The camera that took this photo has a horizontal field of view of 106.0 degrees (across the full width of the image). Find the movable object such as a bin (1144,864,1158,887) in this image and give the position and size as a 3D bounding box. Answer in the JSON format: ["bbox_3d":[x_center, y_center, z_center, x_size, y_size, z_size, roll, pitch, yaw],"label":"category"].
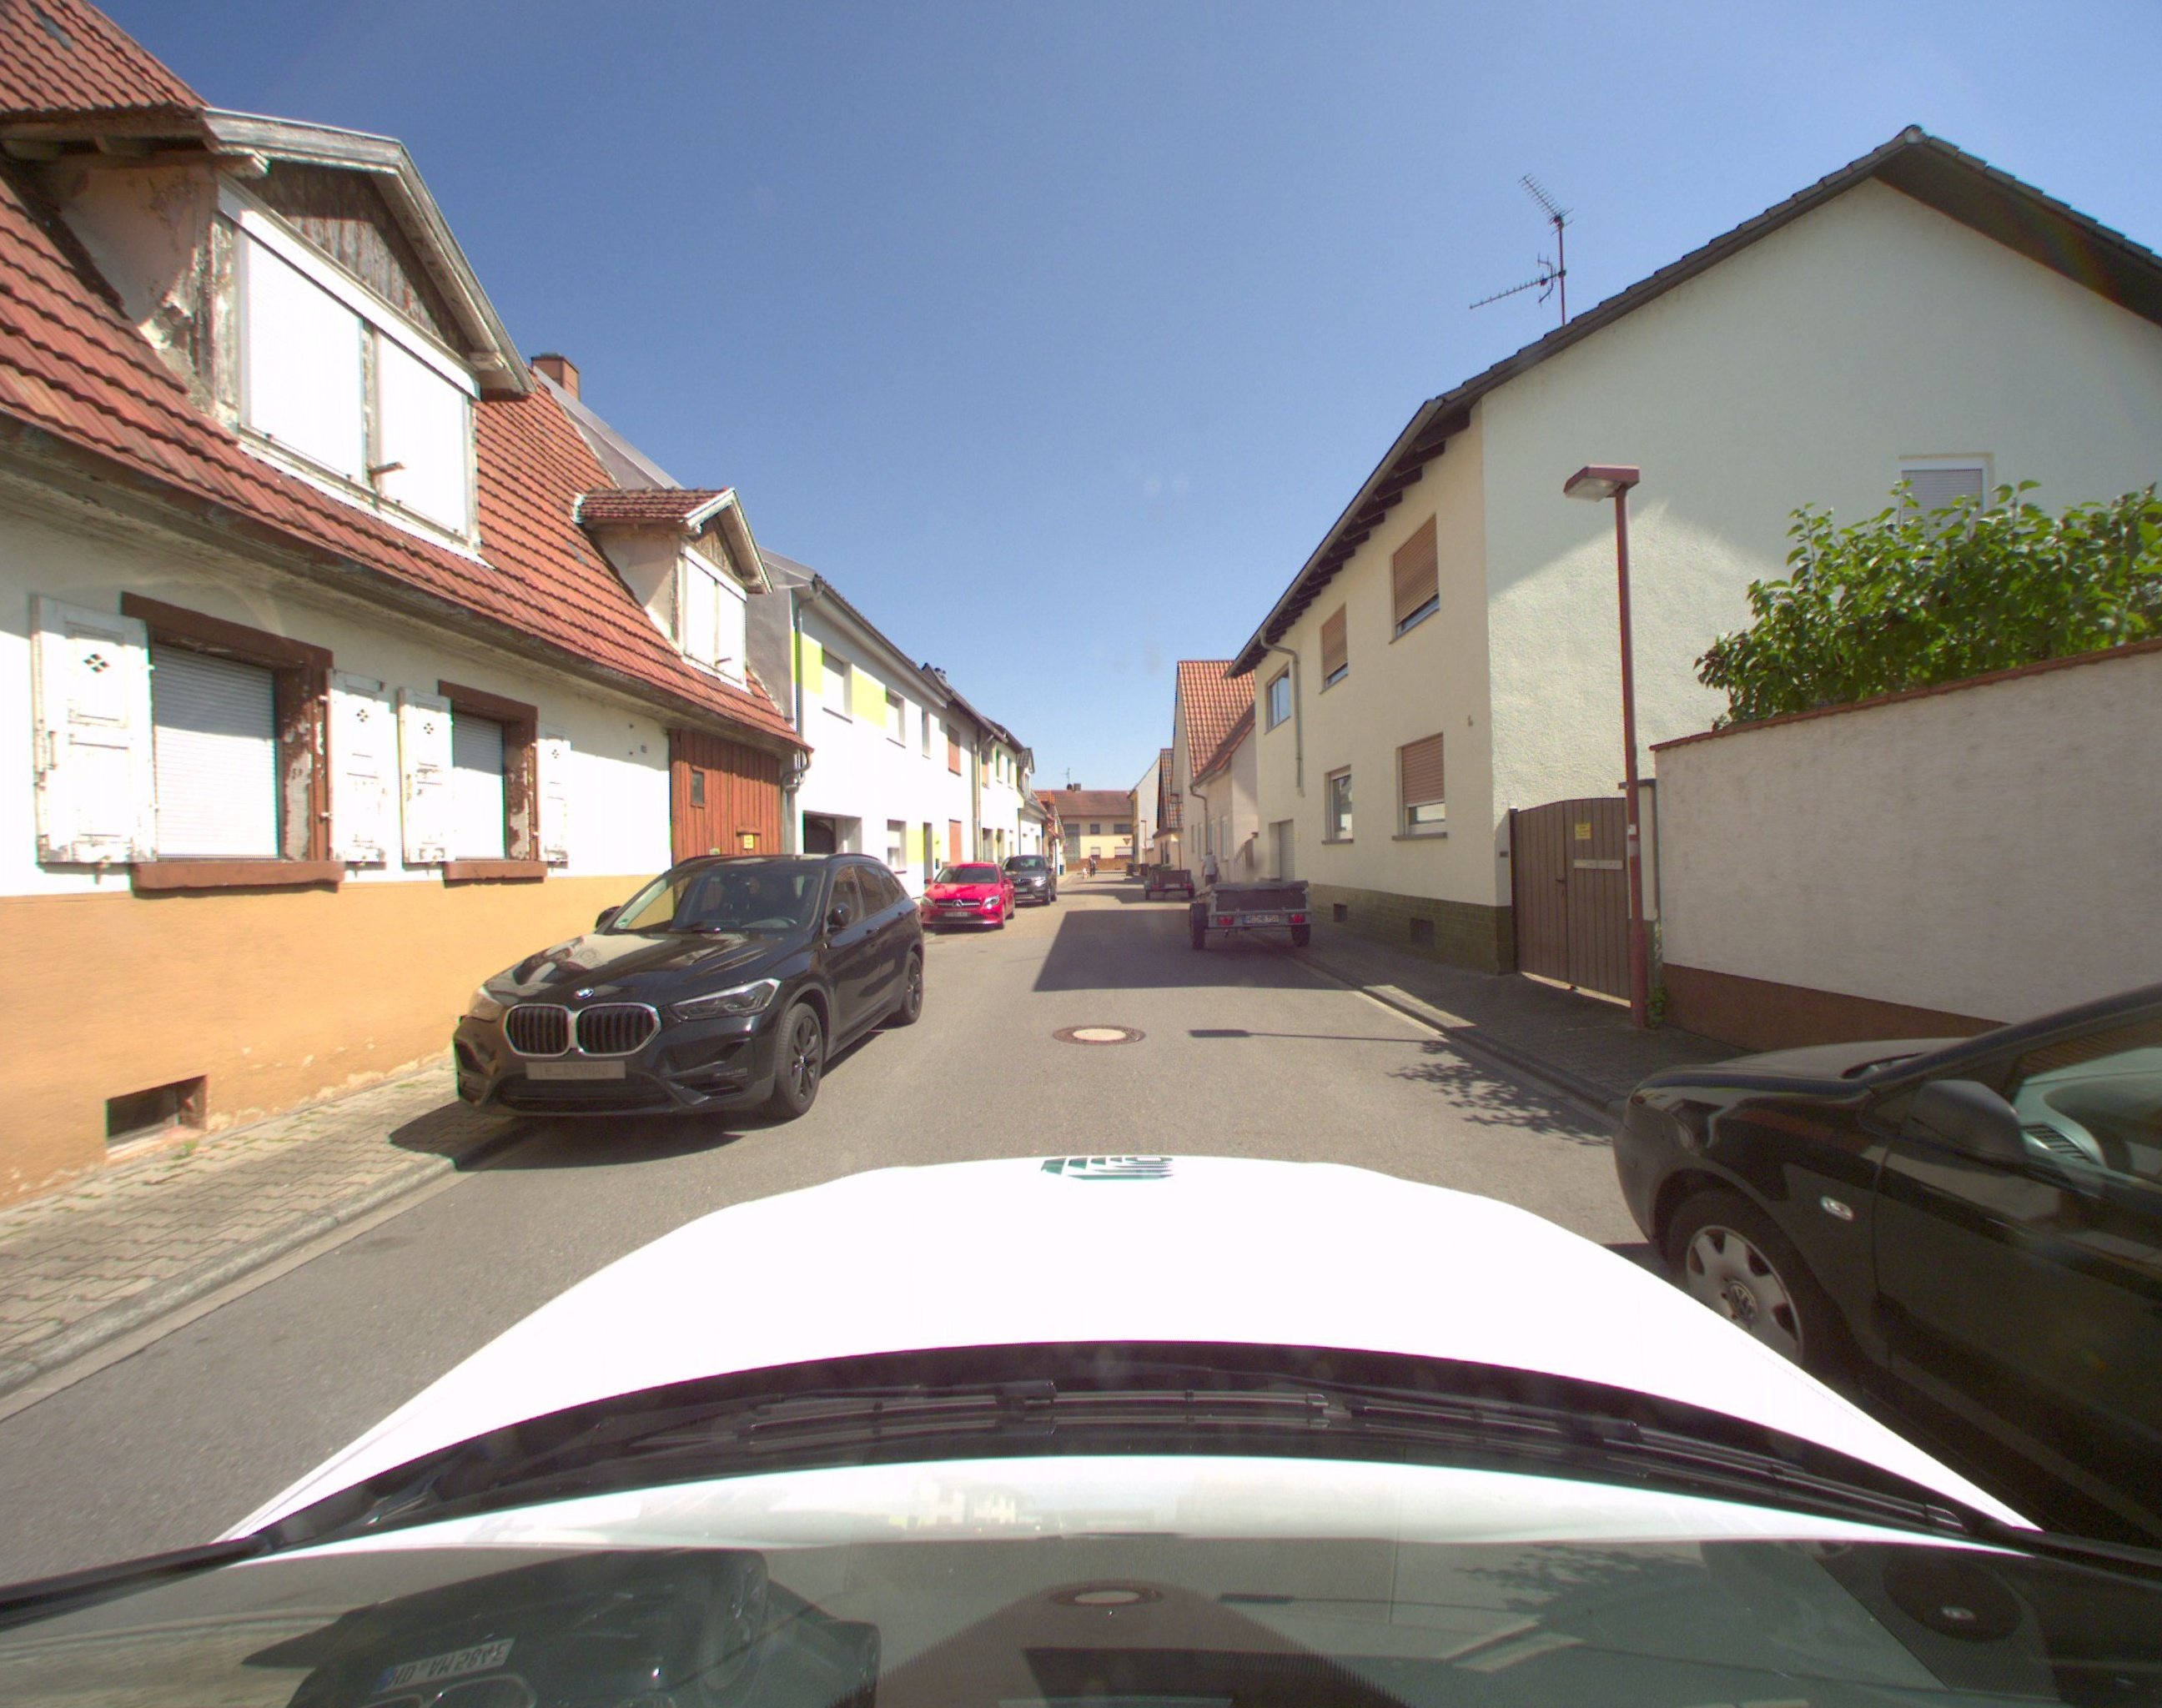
[{"bbox_3d":[3.302,1.019,38.319,0.583,1.033,0.595,-2,-1,0],"label":"movable object such as a bin"}]

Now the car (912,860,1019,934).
[{"bbox_3d":[-2.500,0.890,18.687,1.794,1.441,4.486,-2,-1,0],"label":"car"}]

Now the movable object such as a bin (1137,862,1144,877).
[{"bbox_3d":[4.586,1.176,62.658,0.424,1.128,0.413,-2,-1,-1],"label":"movable object such as a bin"}]

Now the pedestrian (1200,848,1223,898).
[{"bbox_3d":[4.156,0.610,26.001,0.594,1.565,0.556,-1,-4,-1],"label":"pedestrian"}]

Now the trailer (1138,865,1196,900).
[{"bbox_3d":[2.918,0.954,28.280,1.693,1.033,3.482,-1,0,1],"label":"trailer"}]

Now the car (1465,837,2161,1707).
[{"bbox_3d":[2.553,0.683,1.515,1.644,1.436,4.132,-2,-1,-1],"label":"car"}]

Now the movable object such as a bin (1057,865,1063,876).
[{"bbox_3d":[-1.792,1.390,69.125,0.447,0.921,0.404,-2,-1,-2],"label":"movable object such as a bin"}]

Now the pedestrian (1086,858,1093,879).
[{"bbox_3d":[0.631,1.100,61.538,0.411,1.610,0.367,-2,-1,-9],"label":"pedestrian"}]

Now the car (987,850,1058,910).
[{"bbox_3d":[-1.800,0.784,26.483,1.793,1.704,4.488,-3,-1,1],"label":"car"}]

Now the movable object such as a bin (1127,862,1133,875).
[{"bbox_3d":[3.806,1.101,63.231,0.422,0.975,0.473,-2,-1,-1],"label":"movable object such as a bin"}]

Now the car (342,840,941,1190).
[{"bbox_3d":[-2.456,0.769,6.100,1.793,1.574,4.617,-2,-1,2],"label":"car"}]

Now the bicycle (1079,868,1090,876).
[{"bbox_3d":[0.282,1.371,60.731,0.443,0.567,0.931,-1,0,-27],"label":"bicycle"}]

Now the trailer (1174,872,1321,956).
[{"bbox_3d":[2.582,0.897,13.413,1.810,1.090,3.483,-1,0,2],"label":"trailer"}]

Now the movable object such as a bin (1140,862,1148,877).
[{"bbox_3d":[4.665,1.149,60.091,0.524,1.128,0.366,-2,-1,-2],"label":"movable object such as a bin"}]

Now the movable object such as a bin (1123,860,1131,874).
[{"bbox_3d":[3.611,1.012,63.842,0.567,1.128,0.453,-2,-1,-2],"label":"movable object such as a bin"}]

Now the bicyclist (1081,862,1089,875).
[{"bbox_3d":[0.272,1.103,60.737,0.464,0.959,0.349,-1,-2,-28],"label":"bicyclist"}]

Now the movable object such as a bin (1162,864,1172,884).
[{"bbox_3d":[4.723,1.105,44.772,0.456,1.087,0.502,-2,-1,0],"label":"movable object such as a bin"}]
